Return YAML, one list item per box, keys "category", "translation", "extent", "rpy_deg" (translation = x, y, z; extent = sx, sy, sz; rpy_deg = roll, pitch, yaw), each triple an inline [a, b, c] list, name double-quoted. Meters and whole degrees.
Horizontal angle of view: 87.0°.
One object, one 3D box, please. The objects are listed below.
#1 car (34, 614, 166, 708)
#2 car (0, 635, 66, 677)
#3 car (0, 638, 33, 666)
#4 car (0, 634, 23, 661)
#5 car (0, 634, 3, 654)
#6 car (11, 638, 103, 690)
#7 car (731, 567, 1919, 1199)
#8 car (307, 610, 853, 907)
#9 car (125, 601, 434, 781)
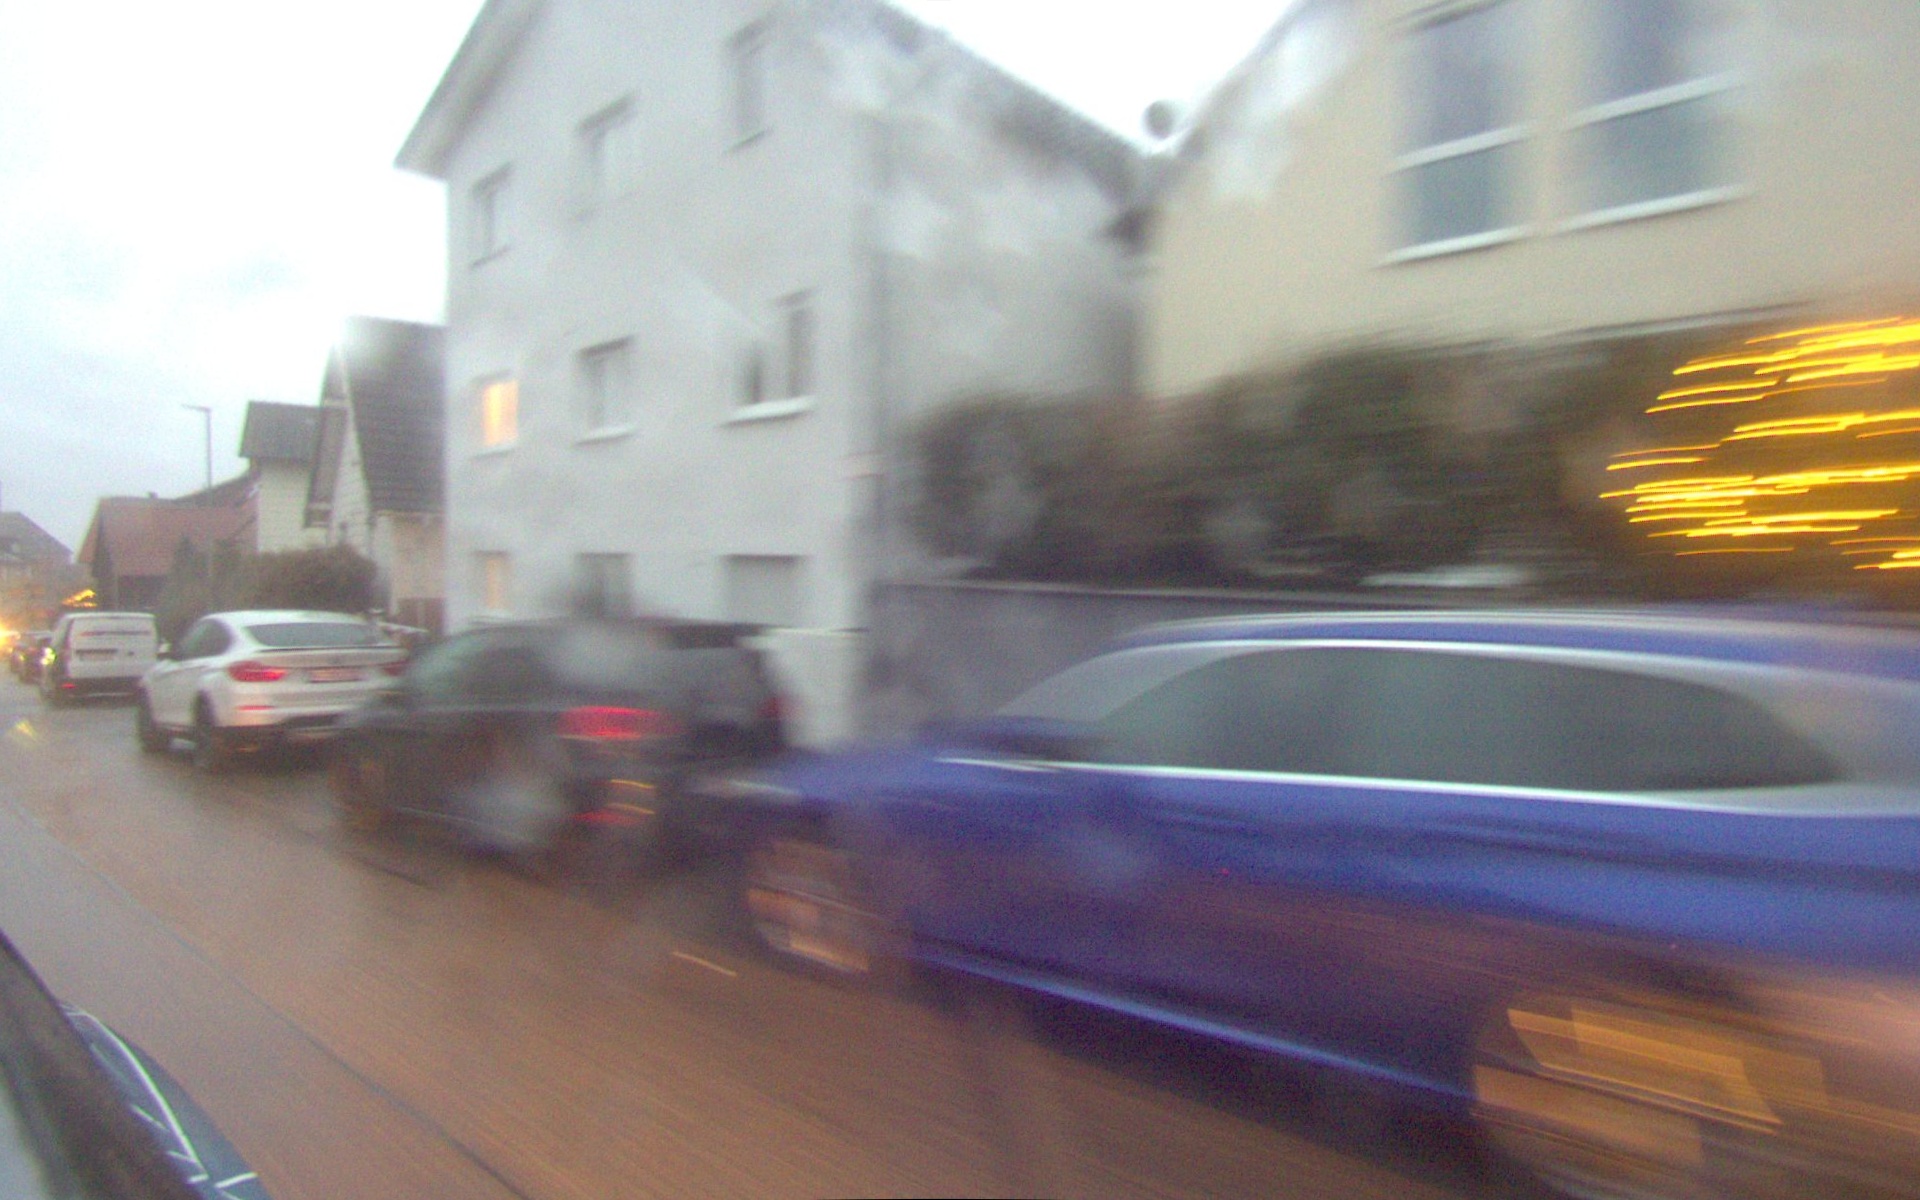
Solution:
- category: "car"
  translation: [-18.263, 1.234, 21.437]
  extent: [4.129, 1.806, 1.751]
  rpy_deg: [-2, -2, 44]
- category: "car"
  translation: [-36.187, 2.136, 39.450]
  extent: [4.002, 1.564, 1.742]
  rpy_deg: [-2, -3, 45]
- category: "car"
  translation: [-52.263, 2.814, 55.502]
  extent: [3.730, 1.422, 1.698]
  rpy_deg: [-1, -1, 42]
- category: "car"
  translation: [-60.905, 3.004, 64.281]
  extent: [3.730, 1.638, 1.698]
  rpy_deg: [-1, -1, 42]
- category: "car"
  translation: [-86.894, 3.944, 90.161]
  extent: [1.766, 1.787, 3.899]
  rpy_deg: [0, -1, -34]
- category: "car"
  translation: [-27.687, 1.896, 30.979]
  extent: [4.001, 1.477, 1.804]
  rpy_deg: [-2, -3, 44]
- category: "car"
  translation: [1.292, 0.682, 3.489]
  extent: [4.435, 1.455, 1.717]
  rpy_deg: [-1, -1, 40]
- category: "car"
  translation: [-2.752, 0.810, 6.898]
  extent: [4.031, 1.447, 1.716]
  rpy_deg: [-1, -1, 40]
- category: "car"
  translation: [-7.816, 0.873, 11.453]
  extent: [4.422, 1.636, 1.897]
  rpy_deg: [-1, -1, 42]
